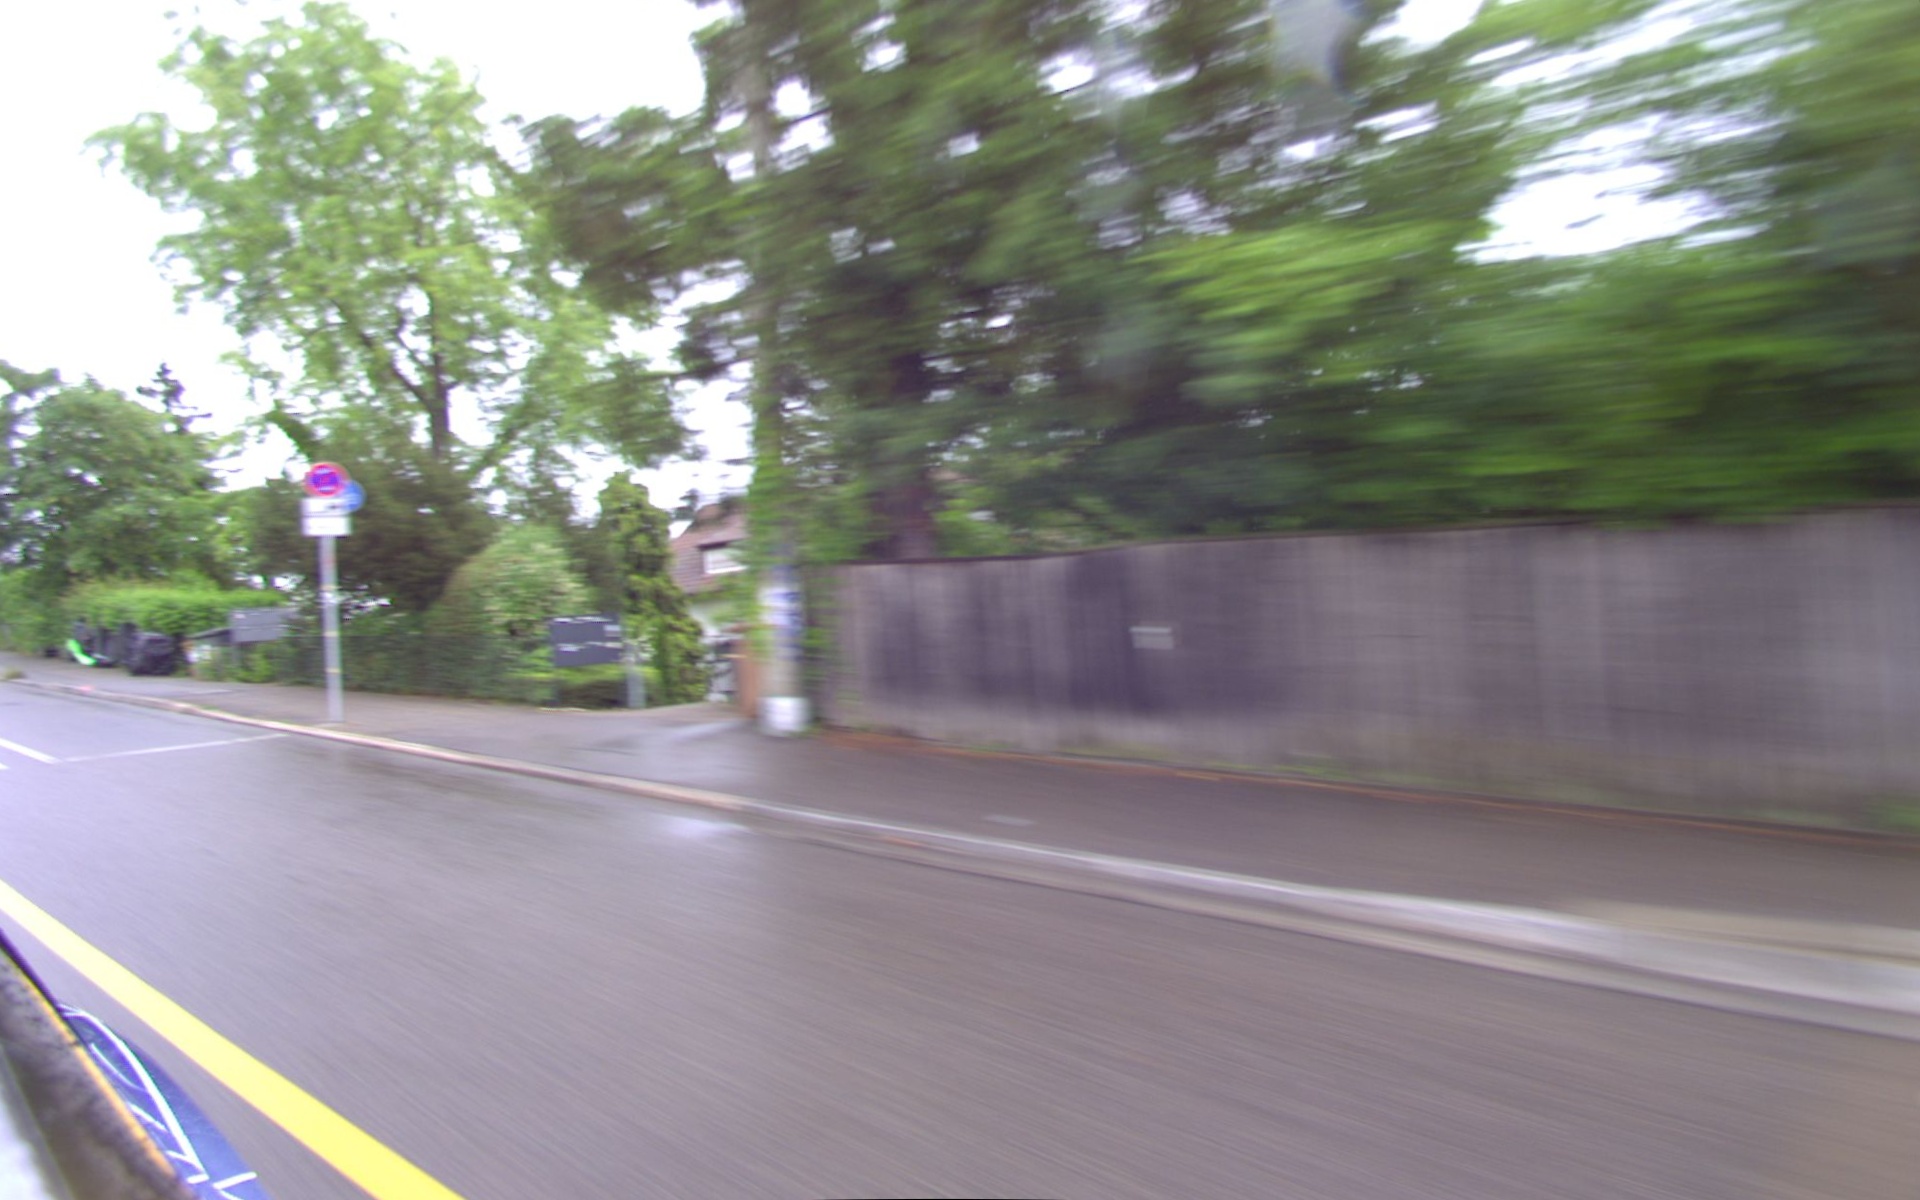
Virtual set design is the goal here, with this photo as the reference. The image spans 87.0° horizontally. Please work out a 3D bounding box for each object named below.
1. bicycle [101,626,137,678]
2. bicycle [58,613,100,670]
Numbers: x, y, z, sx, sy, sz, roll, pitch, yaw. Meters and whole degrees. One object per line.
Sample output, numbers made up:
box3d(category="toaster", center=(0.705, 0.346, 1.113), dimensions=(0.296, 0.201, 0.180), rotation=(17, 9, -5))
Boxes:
box3d(category="bicycle", center=(-19.126, 1.176, 23.005), dimensions=(1.254, 1.116, 0.335), rotation=(0, 1, 37))
box3d(category="bicycle", center=(-21.755, 1.004, 24.989), dimensions=(1.740, 1.359, 0.416), rotation=(0, 1, 37))
